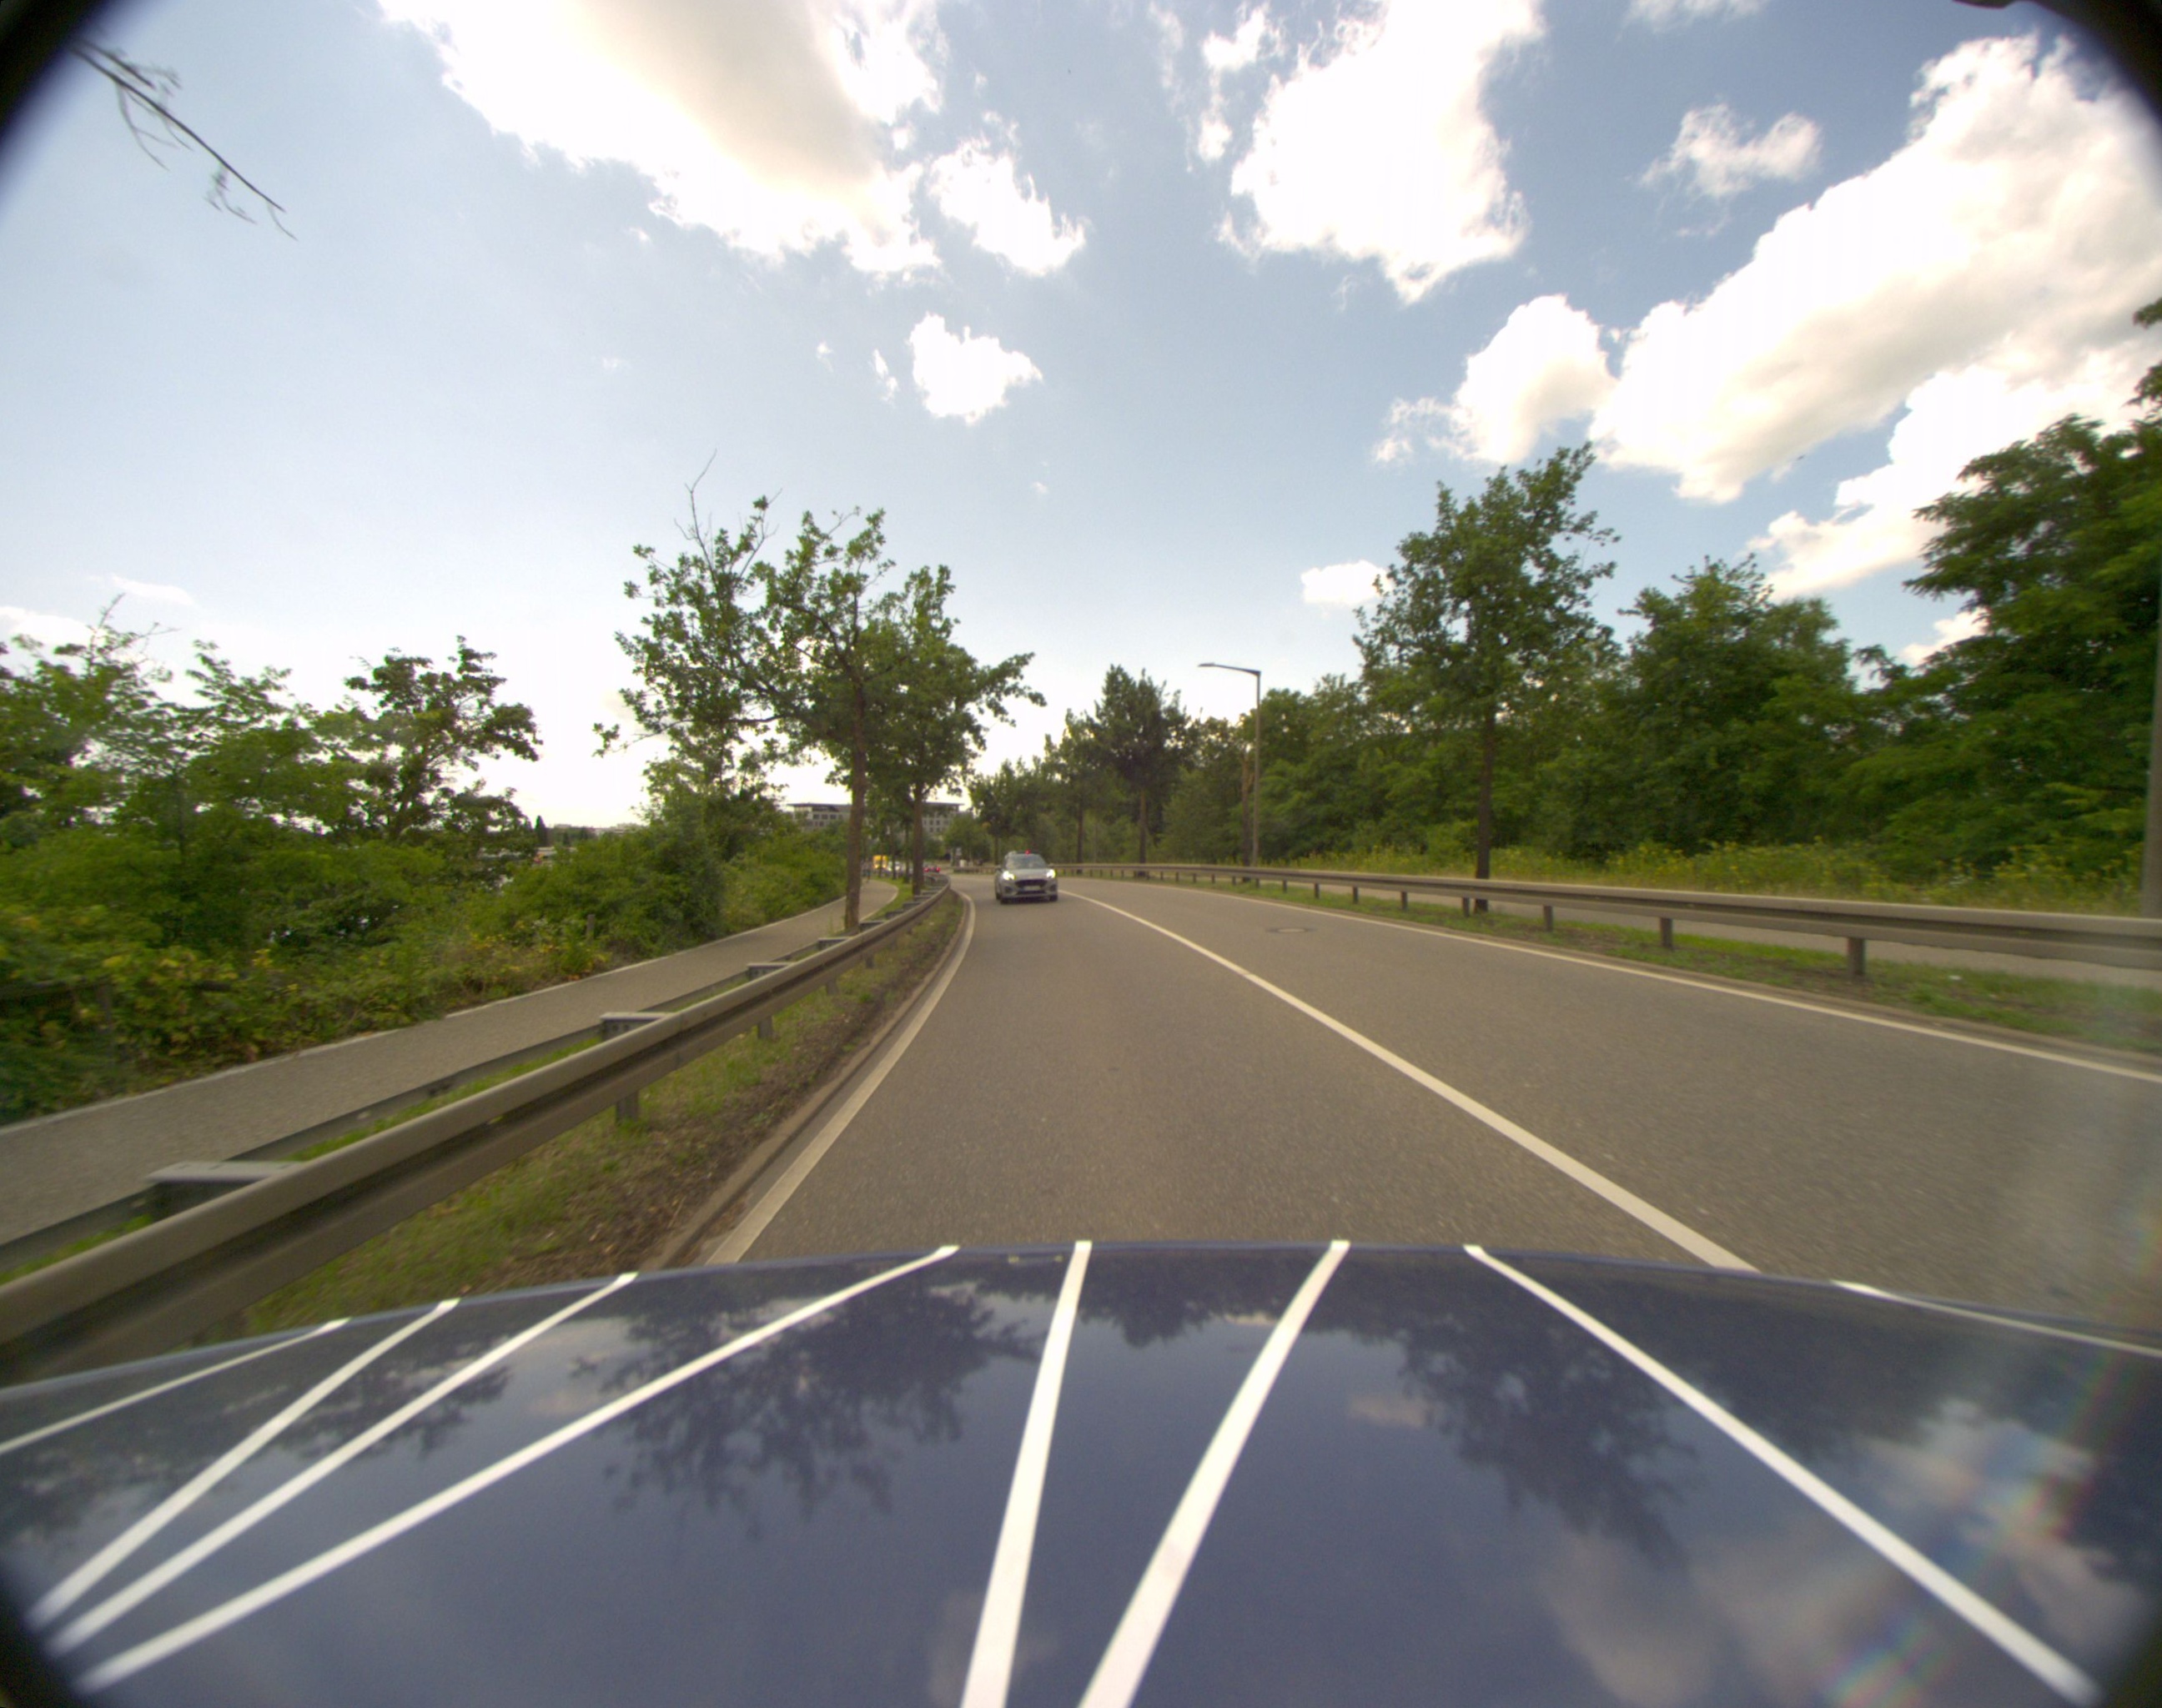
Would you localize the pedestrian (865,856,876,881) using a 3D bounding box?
[{"bbox_3d":[-14.264,0.977,51.411,0.660,1.632,1.053,0,0,-19],"label":"pedestrian"}]

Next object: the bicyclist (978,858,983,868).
[{"bbox_3d":[-14.727,1.334,111.179,0.486,1.543,0.879,0,0,-19],"label":"bicyclist"}]

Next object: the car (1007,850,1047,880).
[{"bbox_3d":[-3.400,0.652,47.126,1.859,1.699,4.307,-2,0,-12],"label":"car"}]

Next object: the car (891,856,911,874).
[{"bbox_3d":[-21.379,1.298,90.182,2.002,2.002,3.993,2,0,-18],"label":"car"}]

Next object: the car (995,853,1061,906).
[{"bbox_3d":[-1.828,0.786,25.181,1.829,1.516,3.996,-2,1,-9],"label":"car"}]

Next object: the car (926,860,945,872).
[{"bbox_3d":[-16.823,1.360,87.700,1.598,1.211,3.785,-3,0,-17],"label":"car"}]

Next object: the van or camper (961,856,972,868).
[{"bbox_3d":[-25.670,1.797,170.974,2.000,2.566,5.980,2,-2,-6],"label":"van or camper"}]

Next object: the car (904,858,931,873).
[{"bbox_3d":[-15.561,1.065,72.056,1.851,1.201,3.991,1,1,-22],"label":"car"}]
